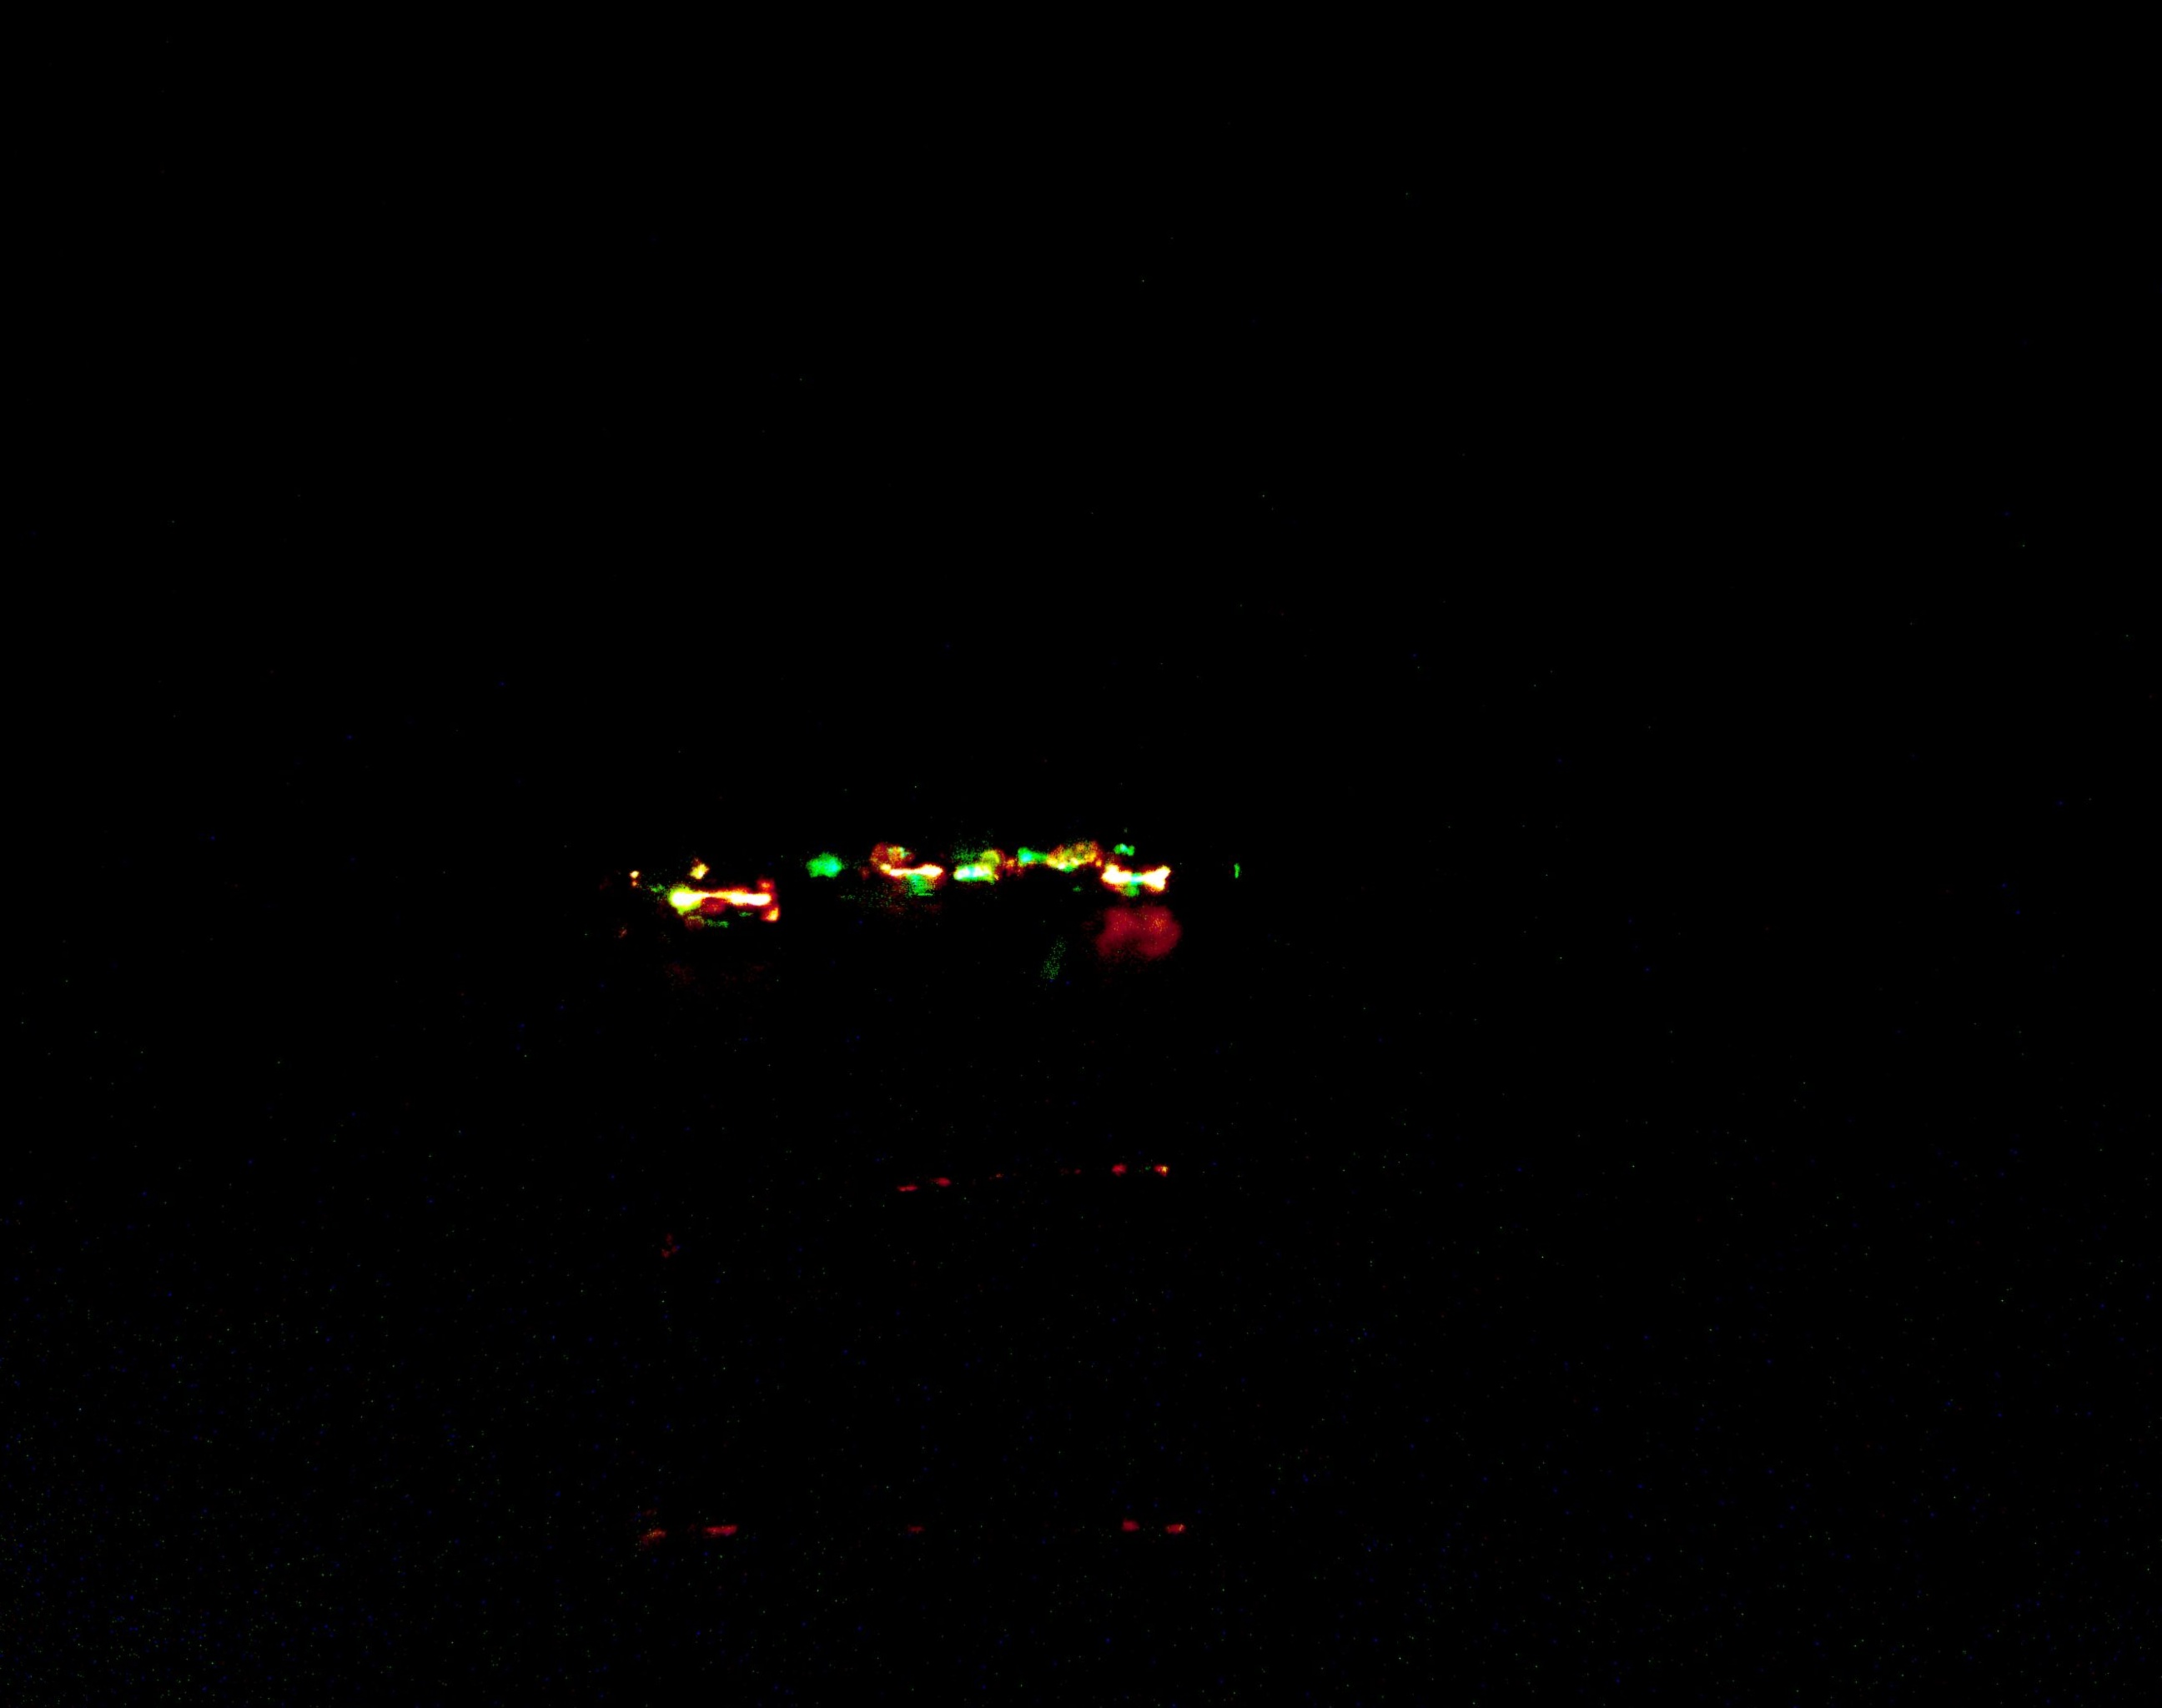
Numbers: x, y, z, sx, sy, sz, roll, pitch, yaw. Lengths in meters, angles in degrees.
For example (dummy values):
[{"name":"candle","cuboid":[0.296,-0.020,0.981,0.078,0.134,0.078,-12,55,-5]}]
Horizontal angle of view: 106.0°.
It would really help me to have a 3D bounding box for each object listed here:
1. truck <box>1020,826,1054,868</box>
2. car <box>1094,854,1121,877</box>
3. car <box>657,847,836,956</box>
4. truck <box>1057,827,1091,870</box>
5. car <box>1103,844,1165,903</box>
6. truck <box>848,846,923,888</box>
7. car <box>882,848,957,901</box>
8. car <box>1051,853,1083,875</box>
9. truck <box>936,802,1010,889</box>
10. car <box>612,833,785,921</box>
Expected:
[{"name":"truck","cuboid":[-5.883,-0.879,110.206,4.244,5.444,10.873,0,0,-3]},{"name":"car","cuboid":[2.016,0.869,62.757,1.986,1.704,4.459,0,0,1]},{"name":"car","cuboid":[-5.945,0.741,15.024,1.761,1.689,3.996,-1,1,-3]},{"name":"truck","cuboid":[-1.047,-0.660,104.932,4.150,5.215,9.947,0,0,-2]},{"name":"car","cuboid":[1.654,0.586,26.473,1.871,1.762,4.001,0,0,2]},{"name":"truck","cuboid":[-10.733,0.694,45.287,2.849,2.201,5.854,0,0,-2]},{"name":"car","cuboid":[-5.686,0.692,29.238,2.034,1.761,4.510,0,0,-4]},{"name":"car","cuboid":[-1.273,0.901,77.588,2.822,2.014,5.512,0,0,1]},{"name":"truck","cuboid":[-6.311,-0.471,49.435,3.648,4.737,9.841,0,0,-3]},{"name":"car","cuboid":[-10.304,0.550,22.598,2.116,2.104,5.628,-1,0,0]}]
